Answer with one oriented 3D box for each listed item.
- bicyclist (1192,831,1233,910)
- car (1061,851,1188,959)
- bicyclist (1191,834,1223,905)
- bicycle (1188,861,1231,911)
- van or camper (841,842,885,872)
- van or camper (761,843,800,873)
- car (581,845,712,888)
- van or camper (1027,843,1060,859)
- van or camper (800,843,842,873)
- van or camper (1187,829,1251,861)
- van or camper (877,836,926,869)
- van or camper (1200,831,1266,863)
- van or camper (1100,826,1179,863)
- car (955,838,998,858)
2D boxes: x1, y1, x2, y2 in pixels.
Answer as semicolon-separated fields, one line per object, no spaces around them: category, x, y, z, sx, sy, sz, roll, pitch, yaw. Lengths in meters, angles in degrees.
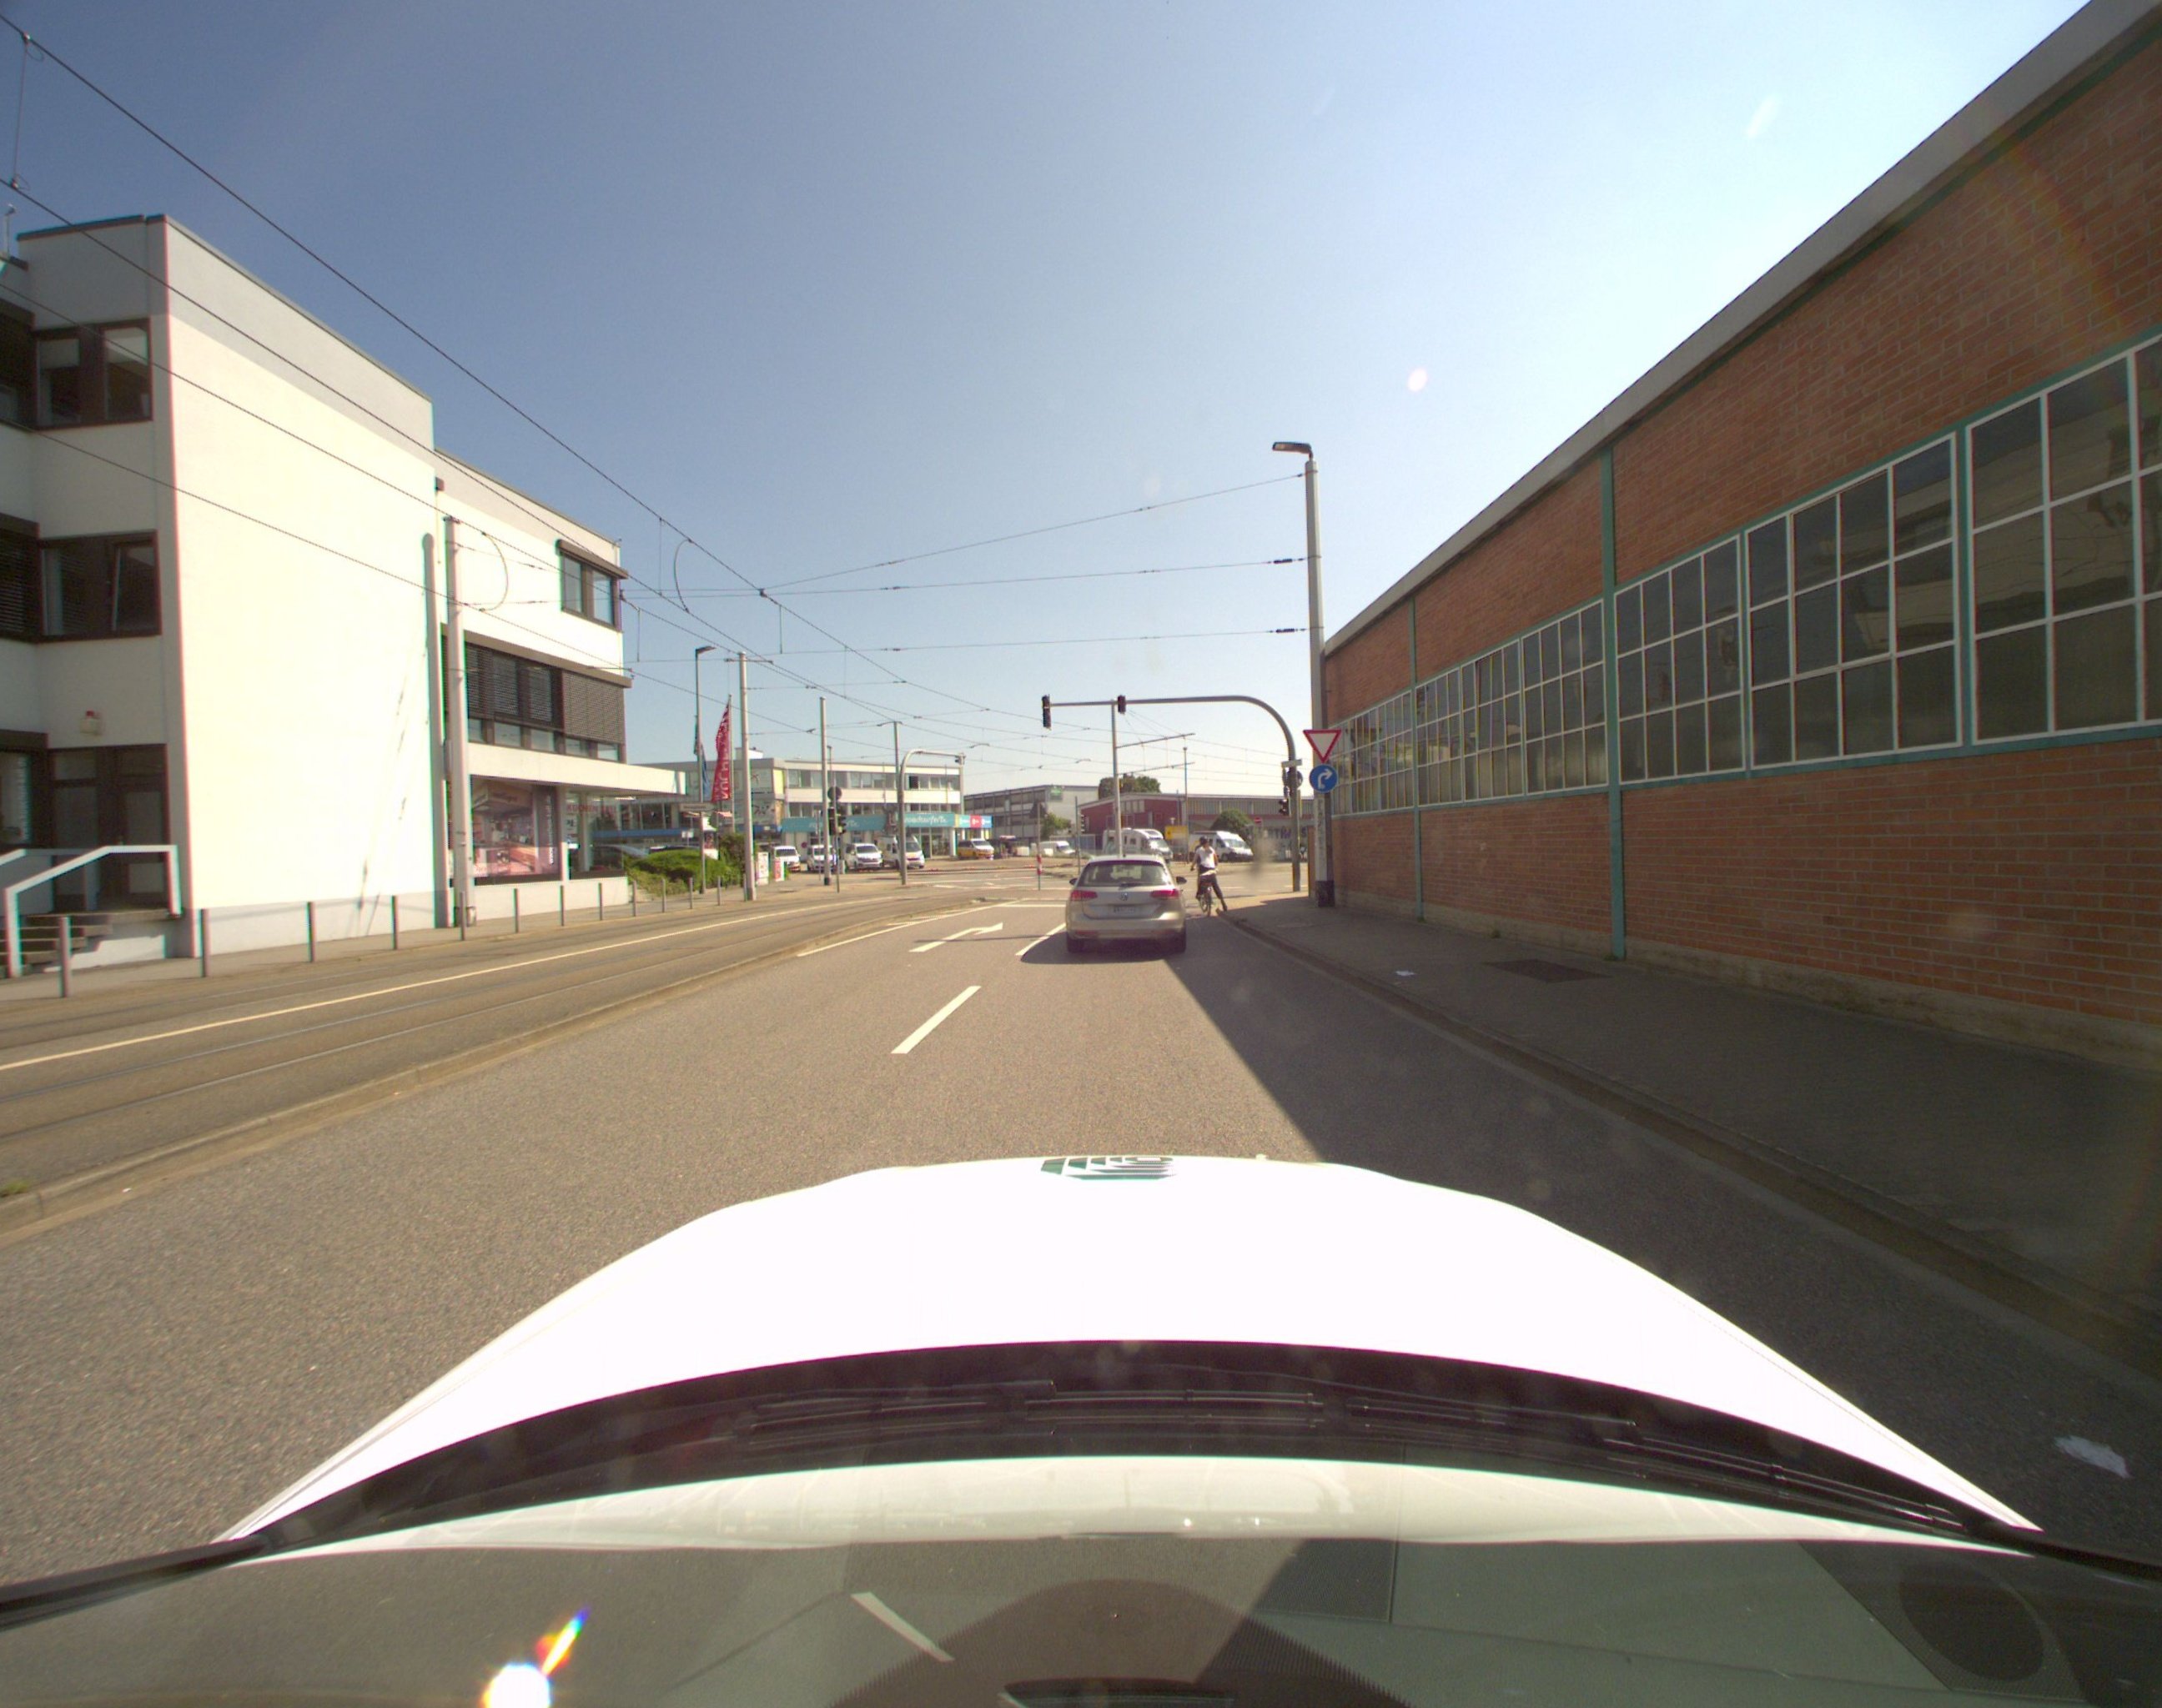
bicyclist;2.978;0.365;18.564;0.782;1.721;1.148;-1;0;4
car;0.731;0.707;13.367;1.739;1.459;4.004;-2;0;3
bicyclist;3.309;0.402;21.381;0.705;1.810;0.984;-1;0;3
bicycle;2.935;0.705;18.752;0.790;1.021;2.153;-1;0;4
van or camper;-16.559;0.176;61.626;2.006;2.013;4.963;-3;3;-29
van or camper;-22.550;0.251;61.041;2.006;2.013;4.718;-3;3;-29
car;-16.947;0.467;31.909;3.970;1.518;2.002;-1;2;3
van or camper;-4.816;-0.421;103.197;3.950;1.947;2.012;-1;0;44
van or camper;-19.497;0.266;61.007;2.006;2.013;4.718;-3;3;-29
van or camper;11.698;-0.819;69.355;2.300;2.439;5.329;-3;4;-36
van or camper;-13.940;-0.176;62.960;2.044;2.295;5.758;-3;3;-29
van or camper;13.614;-0.685;73.160;2.300;2.611;5.829;-3;3;-36
van or camper;4.857;-0.875;68.426;2.367;2.930;6.903;-3;3;-42
car;-9.885;-0.532;76.720;1.952;1.759;5.069;-2;0;-33
